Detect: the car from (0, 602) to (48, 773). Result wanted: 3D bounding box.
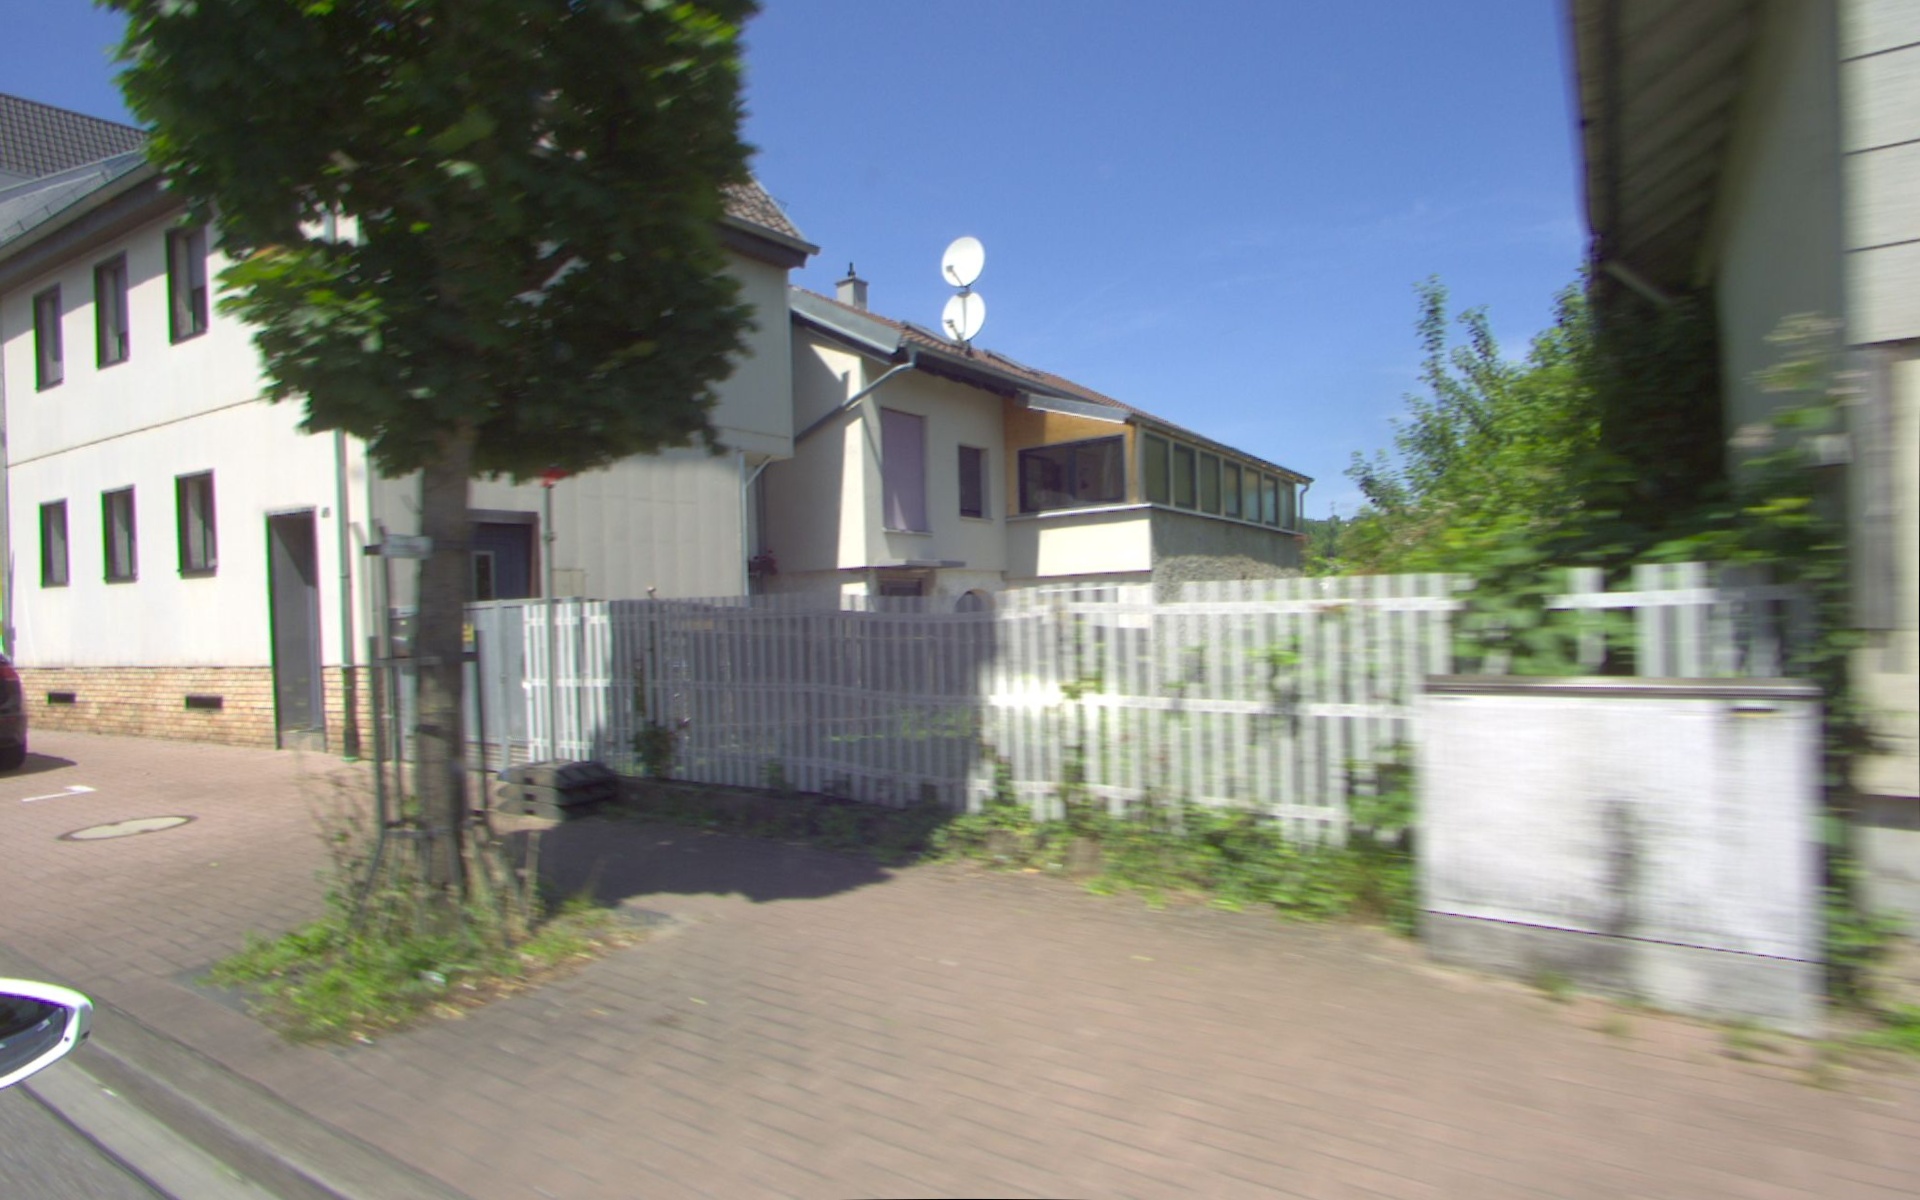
[{"bbox_3d":[-11.424,0.913,10.410,4.486,1.636,1.797,-1,2,34],"label":"car"}]
